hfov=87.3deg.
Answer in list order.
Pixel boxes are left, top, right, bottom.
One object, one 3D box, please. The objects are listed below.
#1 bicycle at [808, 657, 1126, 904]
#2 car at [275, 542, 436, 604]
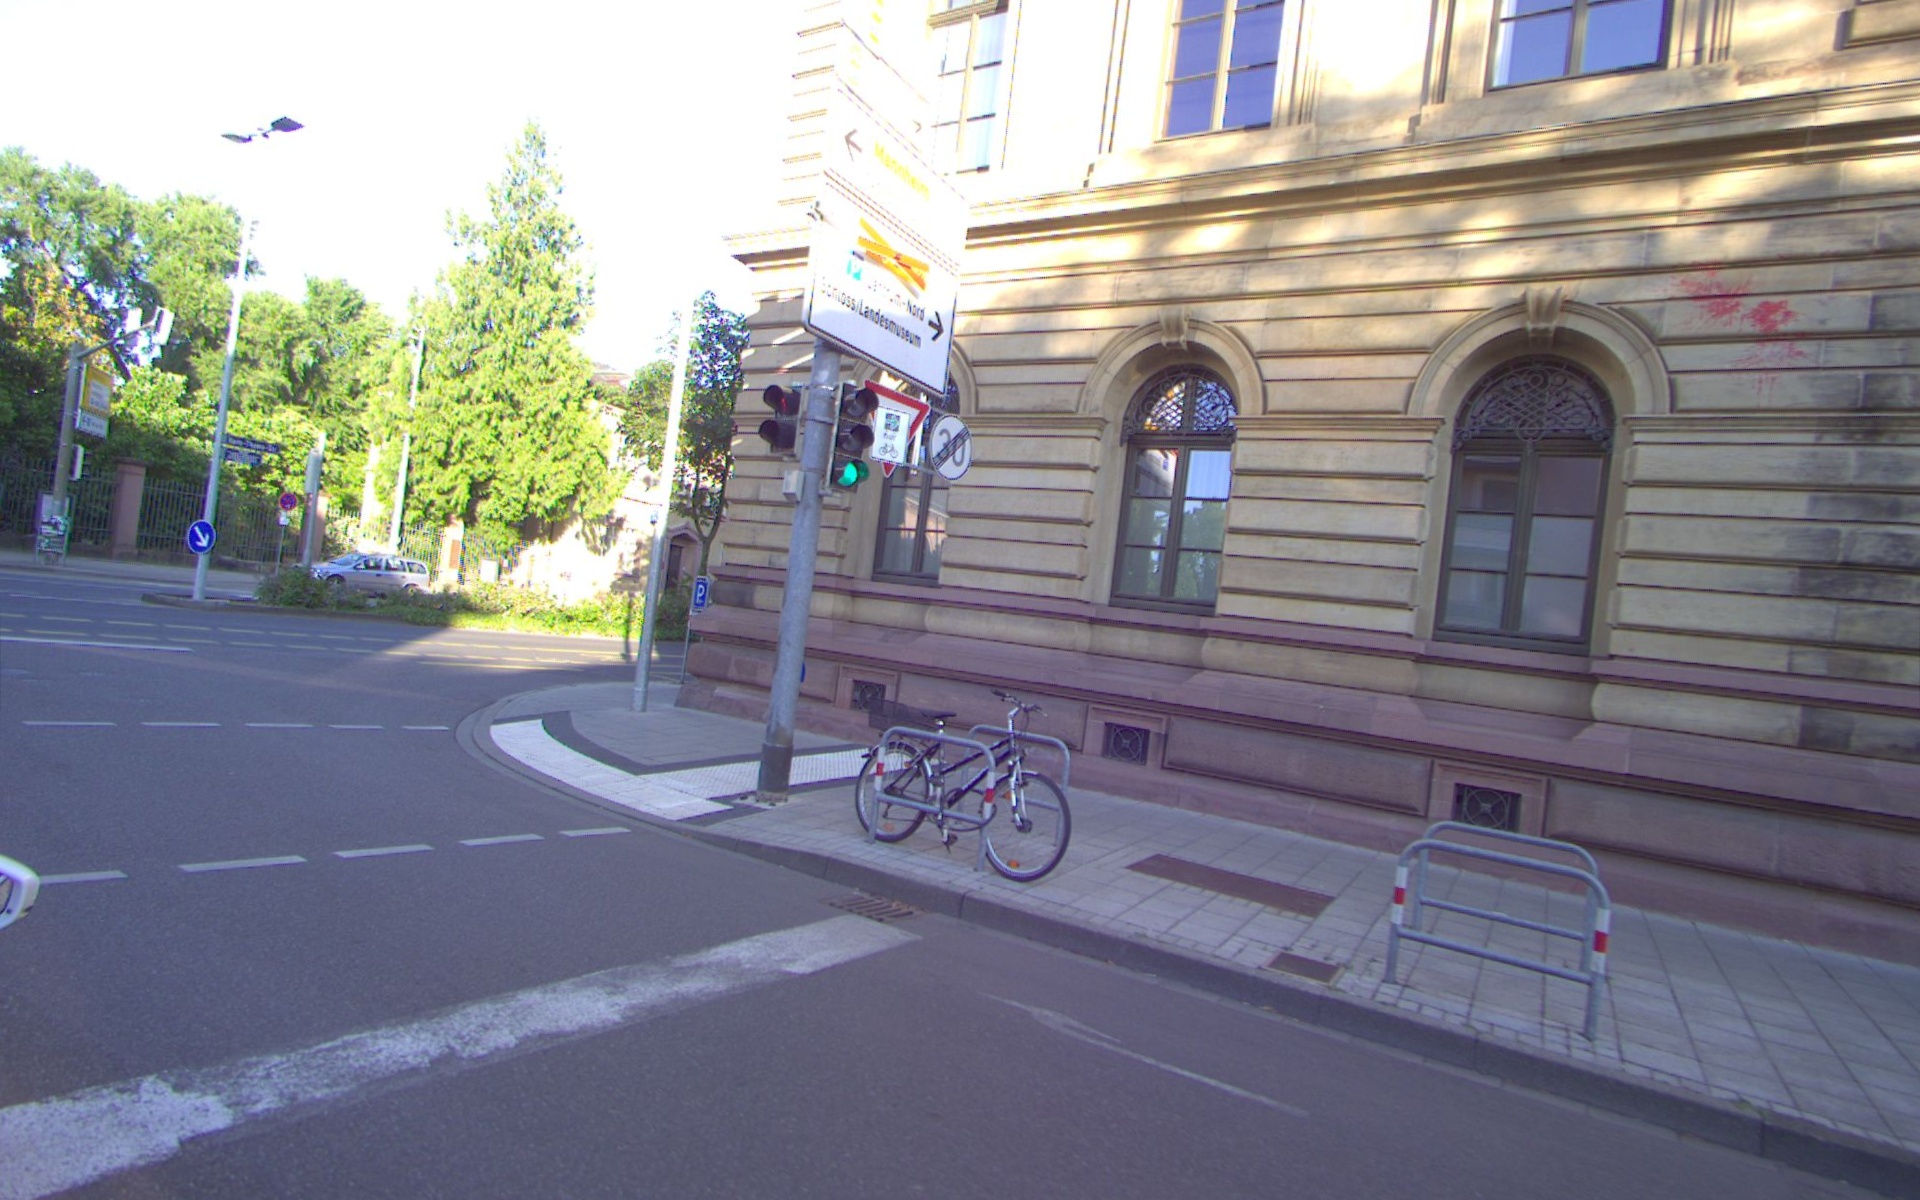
[{"bbox_3d":[0.005,1.064,6.367,1.889,1.202,0.583,5,-2,32],"label":"bicycle"},{"bbox_3d":[-19.866,-0.843,33.251,1.685,1.462,4.197,7,-2,27],"label":"car"}]
